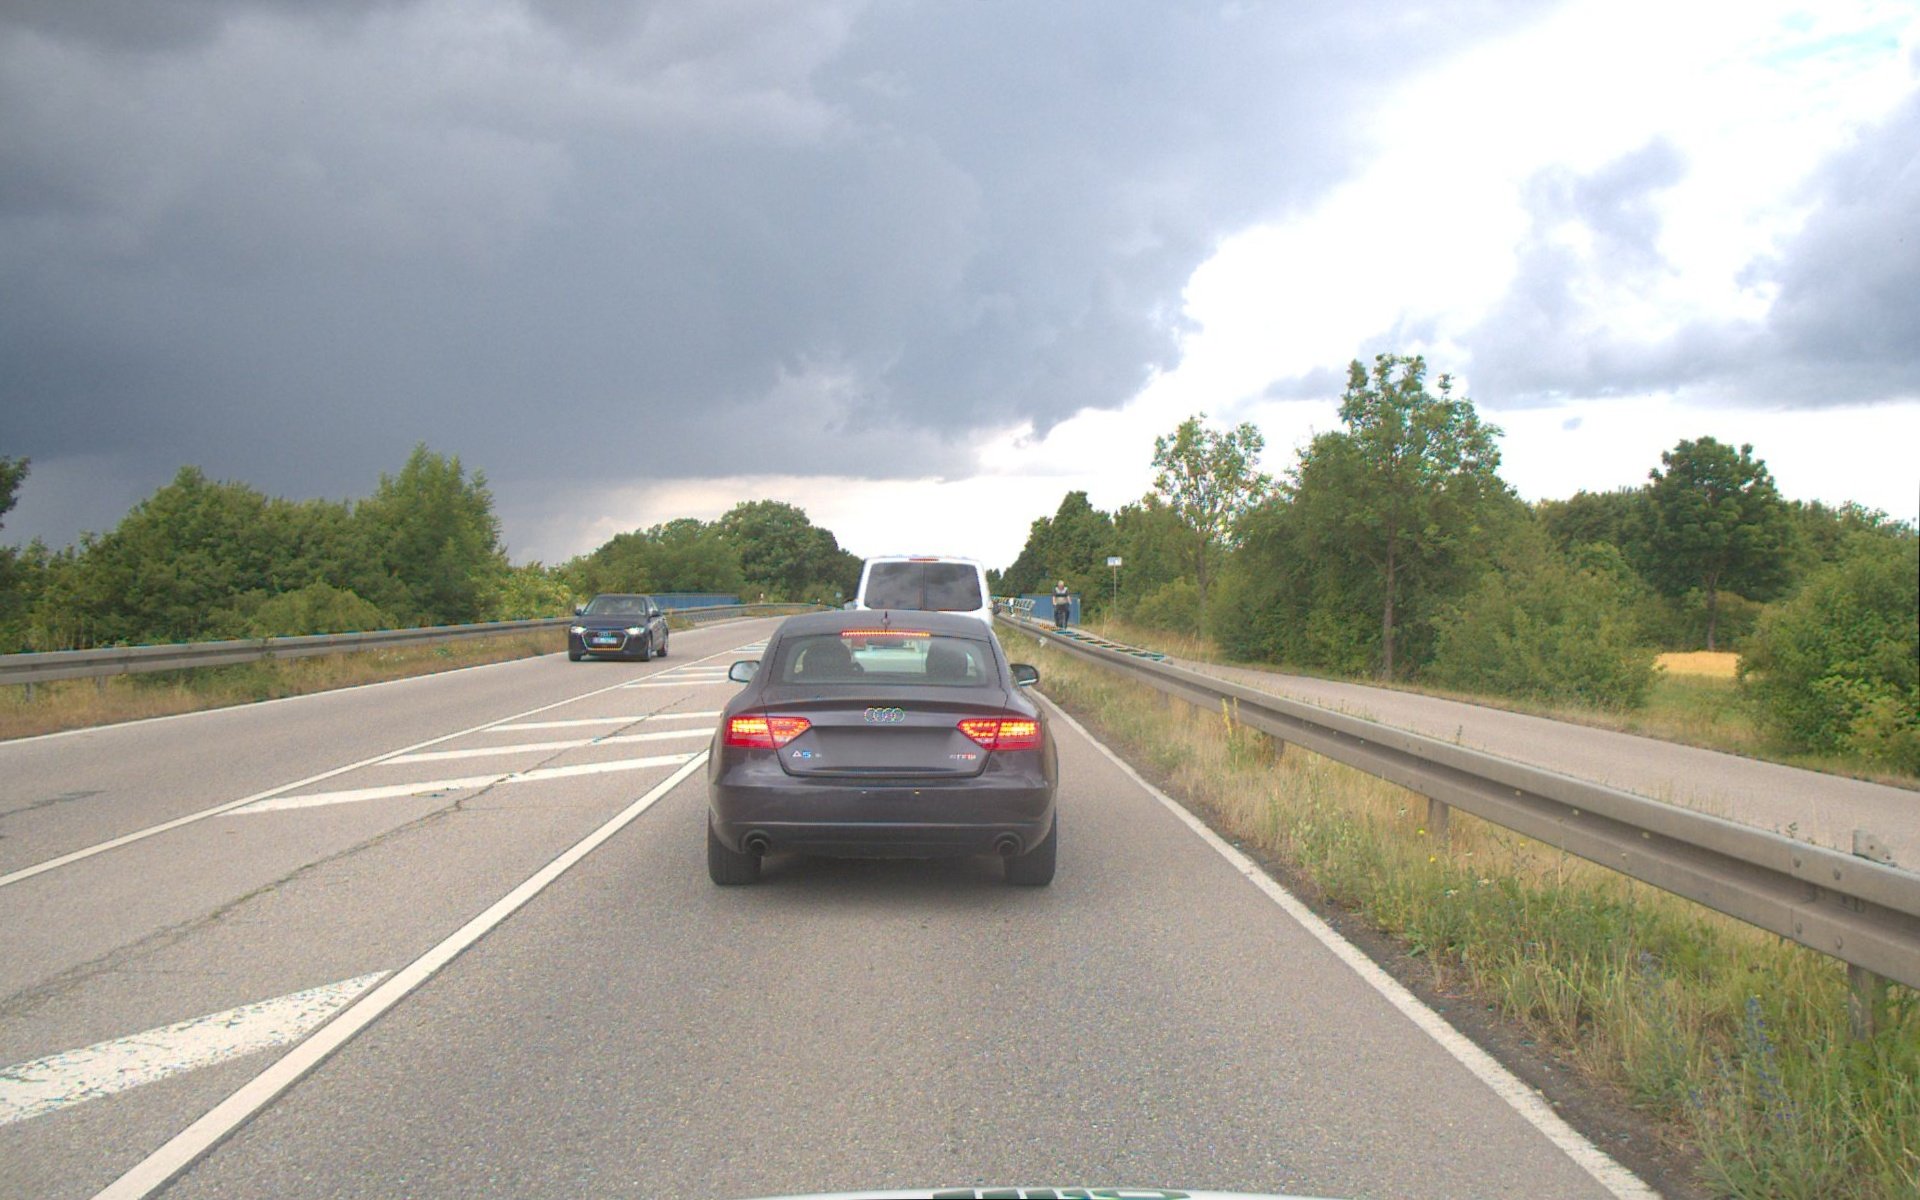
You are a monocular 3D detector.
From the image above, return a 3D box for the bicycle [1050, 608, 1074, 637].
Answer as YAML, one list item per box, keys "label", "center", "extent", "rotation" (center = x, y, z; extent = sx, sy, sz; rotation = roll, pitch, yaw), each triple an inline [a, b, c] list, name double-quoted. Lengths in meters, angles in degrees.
- label: "bicycle"
  center: [3.433, 0.753, 55.830]
  extent: [0.652, 0.936, 1.830]
  rotation: [0, 0, -2]

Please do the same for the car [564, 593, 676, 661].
- label: "car"
  center: [-7.448, 0.553, 36.570]
  extent: [1.825, 1.400, 3.998]
  rotation: [1, 0, -3]

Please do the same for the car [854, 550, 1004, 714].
- label: "car"
  center: [-0.421, 0.392, 21.646]
  extent: [1.749, 1.923, 3.999]
  rotation: [1, 0, -2]

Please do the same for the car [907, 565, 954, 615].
- label: "car"
  center: [-1.582, -0.547, 88.138]
  extent: [2.398, 2.548, 5.040]
  rotation: [1, 0, -1]

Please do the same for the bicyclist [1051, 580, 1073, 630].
- label: "bicyclist"
  center: [3.438, 0.172, 55.739]
  extent: [0.634, 1.674, 0.866]
  rotation: [0, 0, -2]

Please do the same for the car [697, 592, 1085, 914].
- label: "car"
  center: [-0.360, 0.713, 9.558]
  extent: [1.749, 1.448, 3.999]
  rotation: [1, 0, -2]
